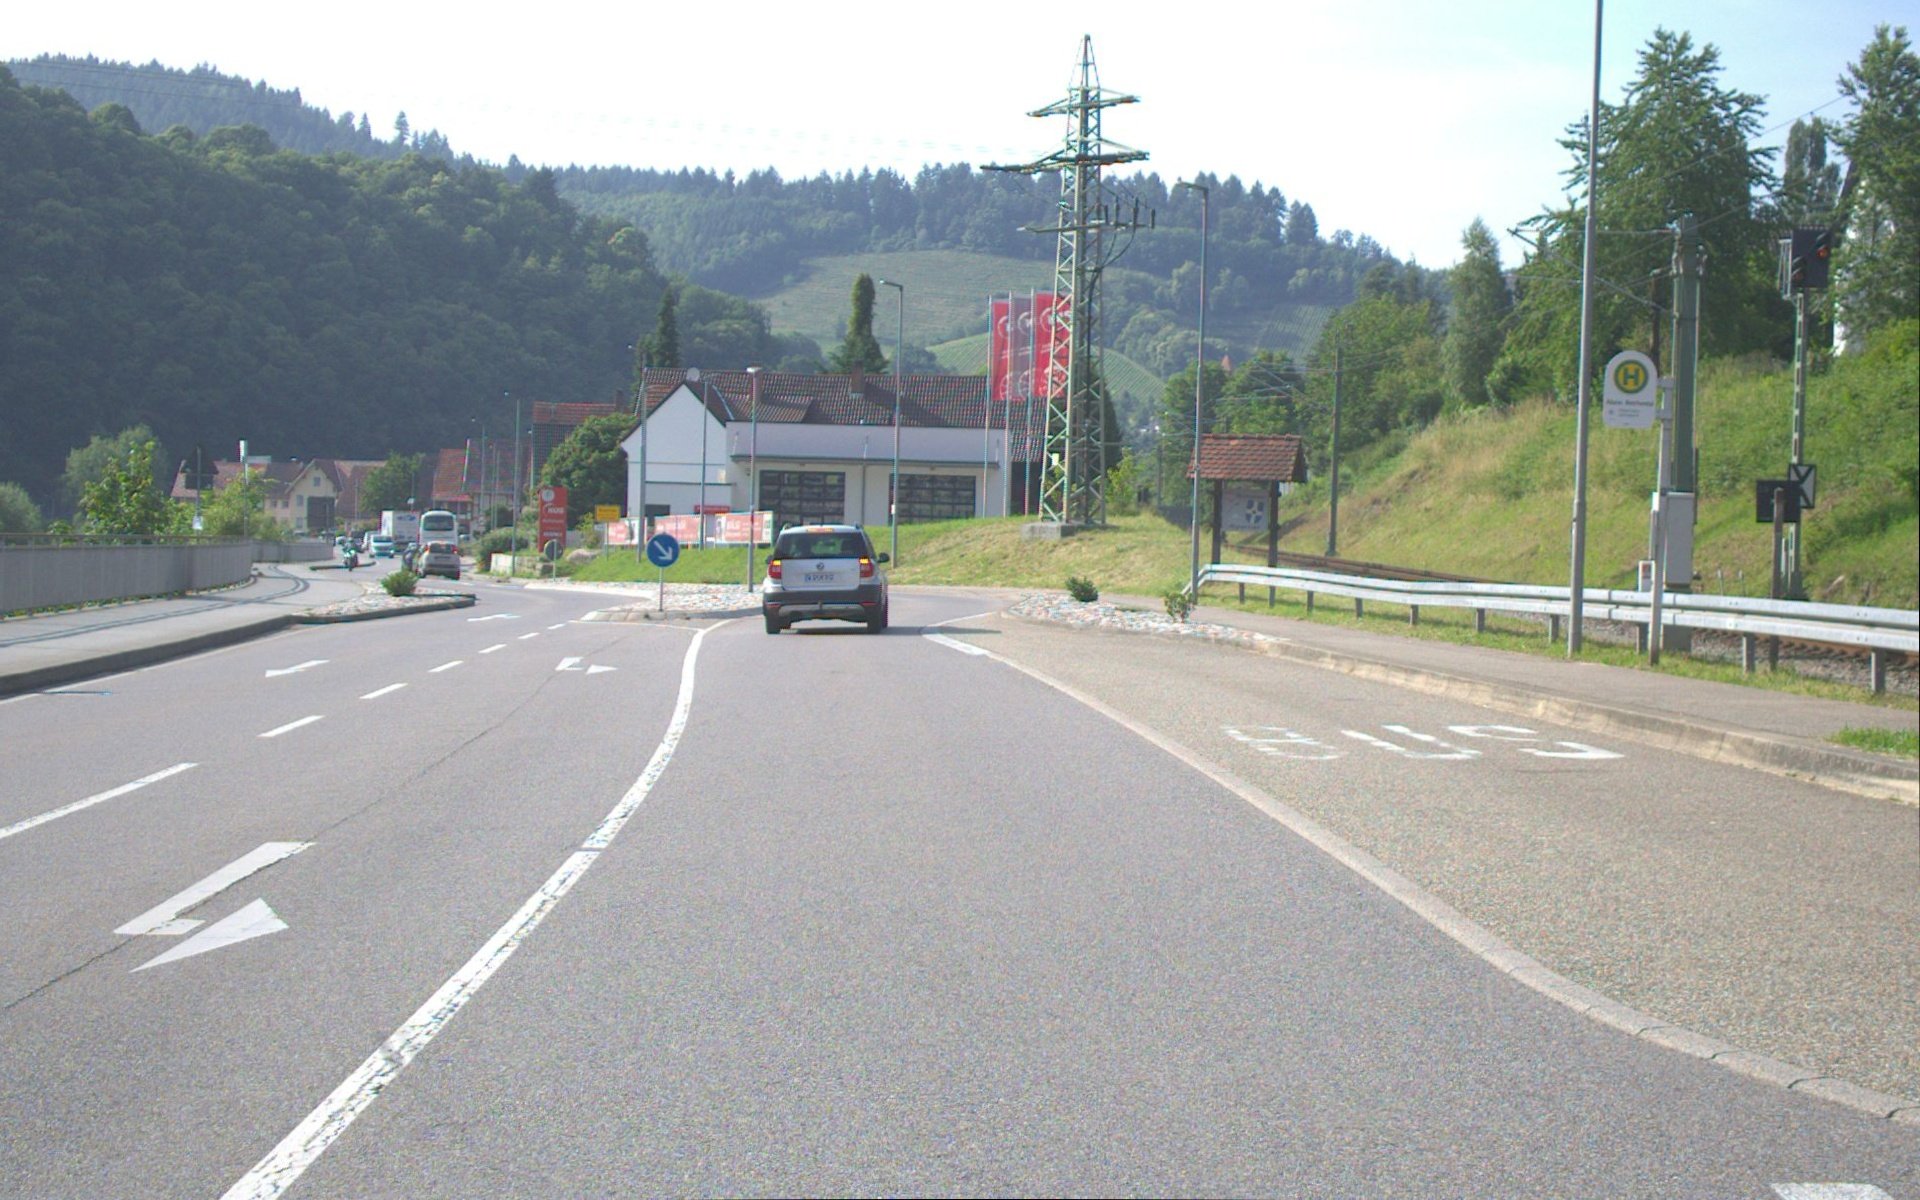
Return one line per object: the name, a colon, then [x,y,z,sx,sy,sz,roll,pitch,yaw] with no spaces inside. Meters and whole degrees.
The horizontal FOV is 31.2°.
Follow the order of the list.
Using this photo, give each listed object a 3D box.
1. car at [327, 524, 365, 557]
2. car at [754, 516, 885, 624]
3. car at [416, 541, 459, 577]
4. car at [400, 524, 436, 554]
car: [-31.142,-3.051,174.486,1.668,1.544,3.705,2,2,-7]
car: [-2.211,-0.466,53.141,1.860,1.539,4.374,2,1,-4]
car: [-22.362,-1.751,147.055,1.453,1.430,2.937,2,2,-15]
car: [-27.299,-3.067,173.124,1.232,1.430,2.641,-1,2,-20]
